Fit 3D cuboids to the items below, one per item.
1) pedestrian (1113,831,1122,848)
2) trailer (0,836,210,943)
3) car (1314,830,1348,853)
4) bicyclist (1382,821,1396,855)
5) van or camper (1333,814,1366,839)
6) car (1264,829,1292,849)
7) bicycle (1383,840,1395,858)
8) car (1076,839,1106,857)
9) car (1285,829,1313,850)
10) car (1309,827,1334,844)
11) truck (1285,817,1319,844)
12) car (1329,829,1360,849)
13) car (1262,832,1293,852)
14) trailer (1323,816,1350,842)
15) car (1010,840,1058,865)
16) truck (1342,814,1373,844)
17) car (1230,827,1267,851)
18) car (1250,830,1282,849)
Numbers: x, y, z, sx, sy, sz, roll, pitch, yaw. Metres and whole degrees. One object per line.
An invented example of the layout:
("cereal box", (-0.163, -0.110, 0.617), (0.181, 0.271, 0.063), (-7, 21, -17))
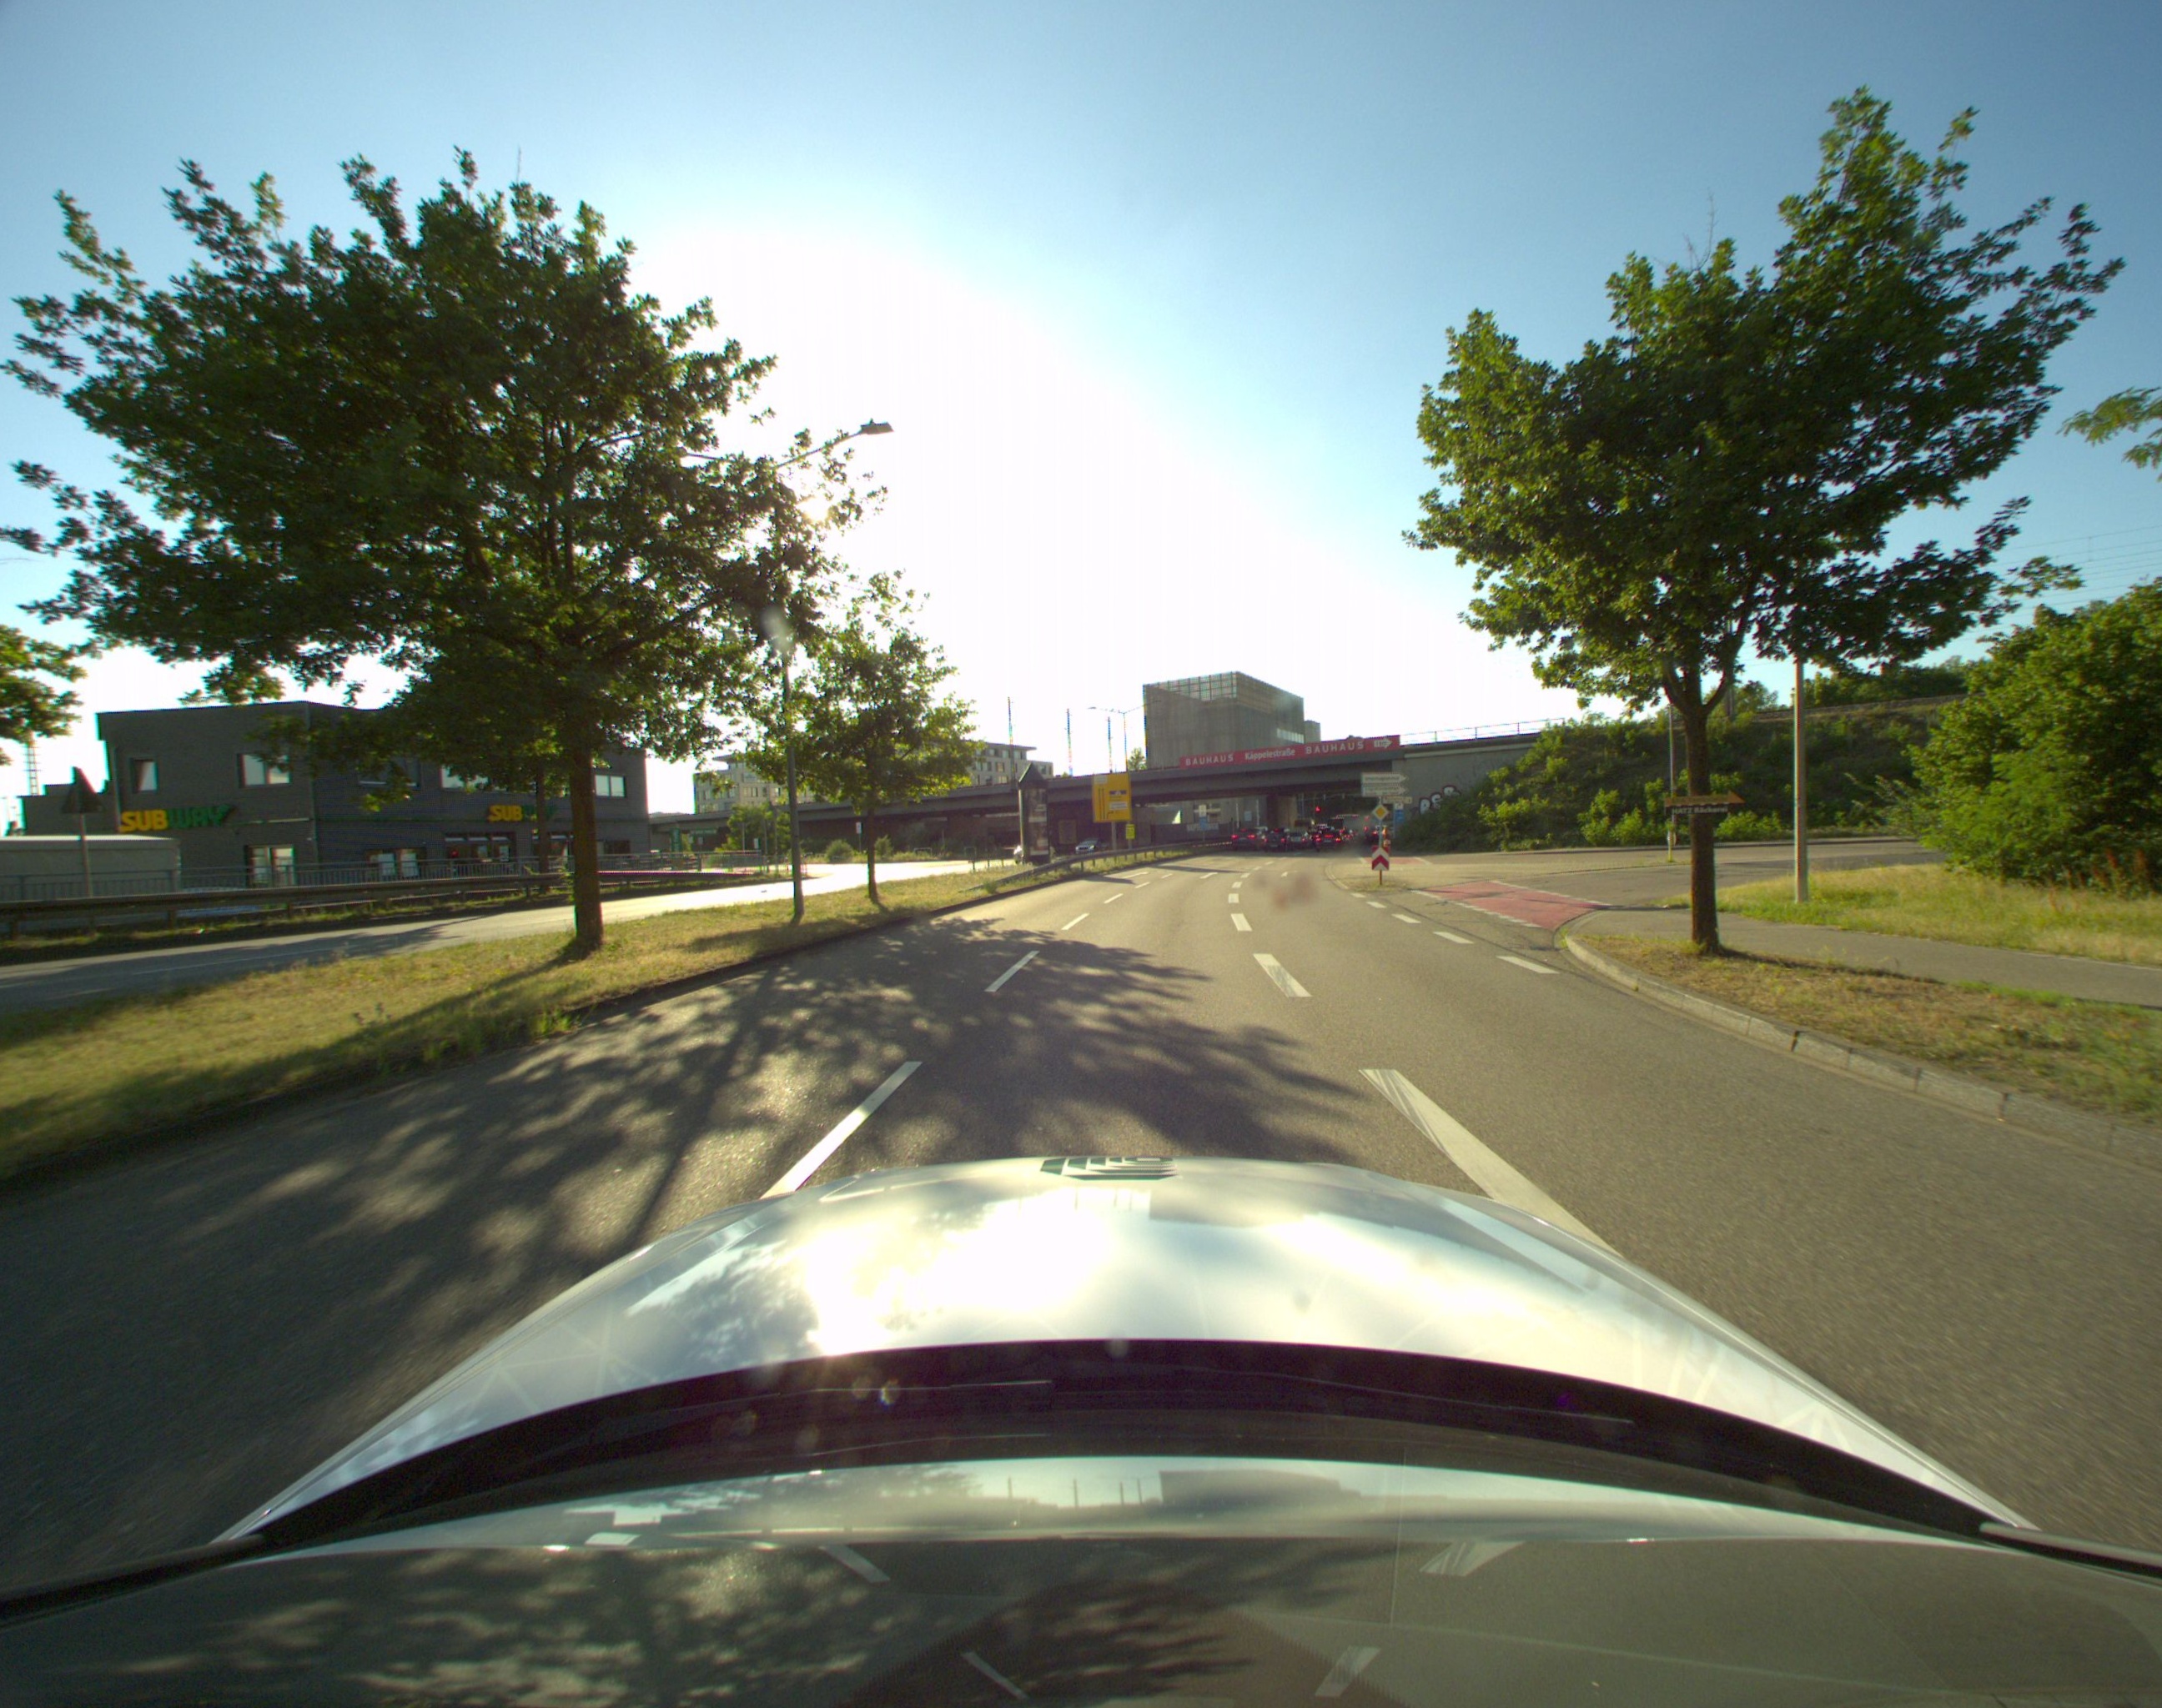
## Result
("pedestrian", (4.122, -1.647, 92.385), (0.687, 1.903, 0.669), (-1, 1, 29))
("trailer", (-21.129, 0.685, 15.140), (2.408, 1.970, 6.614), (-2, 0, 5))
("car", (18.012, -0.939, 58.535), (1.725, 1.454, 4.633), (-1, 3, 25))
("bicyclist", (17.472, -0.927, 46.171), (0.676, 1.906, 0.838), (-1, 1, 22))
("van or camper", (28.673, -2.920, 86.785), (1.974, 2.570, 5.956), (-1, 1, 31))
("car", (18.220, -1.409, 75.302), (1.825, 1.719, 4.022), (-5, 0, 22))
("bicycle", (17.434, -0.315, 46.053), (0.573, 0.963, 2.902), (-2, 1, 22))
("car", (0.889, -0.539, 69.240), (1.661, 1.462, 4.120), (-2, 0, 12))
("car", (17.296, -1.151, 64.634), (1.533, 1.423, 3.437), (-5, 0, 23))
("car", (22.561, -1.737, 76.351), (1.567, 1.532, 3.855), (-1, 1, 27))
("truck", (22.159, -2.333, 81.389), (2.009, 2.556, 5.571), (-1, 1, 28))
("car", (21.292, -1.256, 65.638), (1.756, 1.495, 3.855), (-3, 0, 27))
("car", (14.397, -0.895, 59.670), (1.567, 1.408, 3.853), (-1, 1, 23))
("trailer", (25.769, -2.554, 82.072), (1.846, 2.465, 3.856), (-3, 0, 29))
("car", (-2.915, -0.132, 51.465), (1.726, 1.462, 3.784), (-3, 0, 18))
("truck", (24.710, -2.226, 72.649), (2.092, 2.519, 4.427), (0, 1, 26))
("car", (13.065, -1.214, 63.300), (1.813, 1.738, 4.487), (-2, 1, 25))
("car", (15.844, -1.220, 69.532), (1.824, 1.440, 3.696), (-5, 0, 24))
